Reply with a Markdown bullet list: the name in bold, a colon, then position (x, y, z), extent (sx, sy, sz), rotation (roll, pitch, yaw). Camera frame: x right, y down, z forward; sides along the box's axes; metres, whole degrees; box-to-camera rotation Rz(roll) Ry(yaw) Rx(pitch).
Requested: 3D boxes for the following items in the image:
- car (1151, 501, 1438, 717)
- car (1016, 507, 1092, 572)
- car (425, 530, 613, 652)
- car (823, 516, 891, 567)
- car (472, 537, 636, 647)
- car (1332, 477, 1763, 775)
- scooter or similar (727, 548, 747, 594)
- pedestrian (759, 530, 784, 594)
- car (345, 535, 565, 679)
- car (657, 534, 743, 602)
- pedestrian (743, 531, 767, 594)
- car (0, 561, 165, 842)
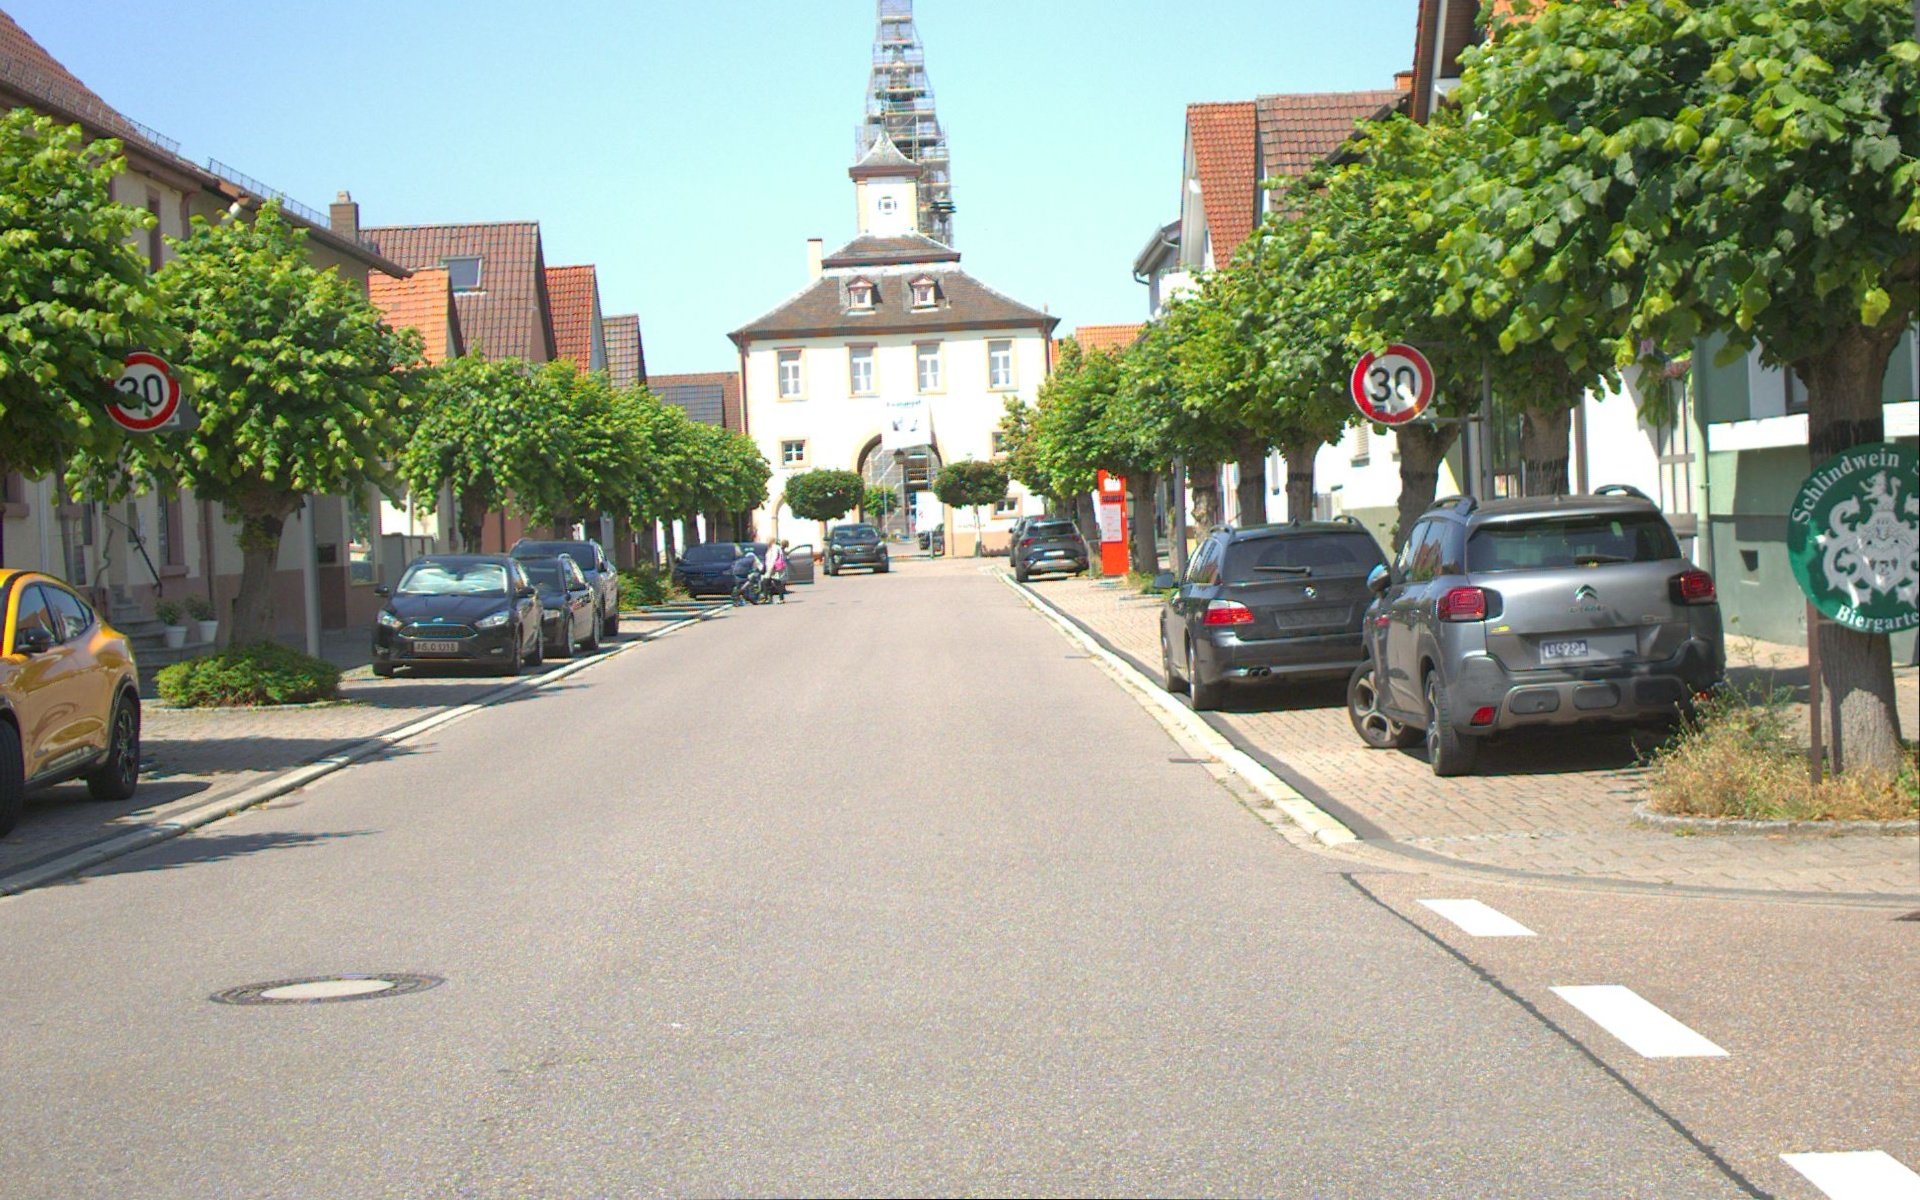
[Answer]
- **car**: position (2.727, 0.020, 28.922), extent (1.837, 1.550, 4.314), rotation (-4, 1, -1)
- **car**: position (2.487, -1.634, 92.033), extent (1.837, 1.550, 4.314), rotation (-4, 1, 0)
- **car**: position (-6.217, -0.151, 48.959), extent (1.993, 1.606, 4.689), rotation (-1, 1, 1)
- **car**: position (-3.421, -1.895, 113.044), extent (1.993, 1.606, 4.507), rotation (-1, 1, -4)
- **car**: position (-6.549, -0.167, 55.930), extent (1.993, 1.606, 4.689), rotation (-2, 1, 1)
- **car**: position (3.539, 0.103, 21.437), extent (1.837, 1.602, 4.001), rotation (-3, 1, -2)
- **scooter or similar**: position (-4.995, -0.645, 77.068), extent (0.330, 0.999, 0.241), rotation (-2, 1, 37)
- **pedestrian**: position (-4.194, -0.847, 76.468), extent (0.358, 1.398, 0.319), rotation (-2, 1, 37)
- **car**: position (-6.278, 0.038, 43.230), extent (1.993, 1.606, 4.689), rotation (-1, 2, 1)
- **car**: position (-6.494, -0.828, 86.112), extent (1.757, 1.550, 4.020), rotation (-3, 1, 0)
- **pedestrian**: position (-4.615, -0.849, 77.308), extent (0.358, 1.398, 0.319), rotation (-2, 1, 37)
- **car**: position (-6.629, 0.600, 21.812), extent (1.993, 1.606, 4.689), rotation (-1, 1, 1)
